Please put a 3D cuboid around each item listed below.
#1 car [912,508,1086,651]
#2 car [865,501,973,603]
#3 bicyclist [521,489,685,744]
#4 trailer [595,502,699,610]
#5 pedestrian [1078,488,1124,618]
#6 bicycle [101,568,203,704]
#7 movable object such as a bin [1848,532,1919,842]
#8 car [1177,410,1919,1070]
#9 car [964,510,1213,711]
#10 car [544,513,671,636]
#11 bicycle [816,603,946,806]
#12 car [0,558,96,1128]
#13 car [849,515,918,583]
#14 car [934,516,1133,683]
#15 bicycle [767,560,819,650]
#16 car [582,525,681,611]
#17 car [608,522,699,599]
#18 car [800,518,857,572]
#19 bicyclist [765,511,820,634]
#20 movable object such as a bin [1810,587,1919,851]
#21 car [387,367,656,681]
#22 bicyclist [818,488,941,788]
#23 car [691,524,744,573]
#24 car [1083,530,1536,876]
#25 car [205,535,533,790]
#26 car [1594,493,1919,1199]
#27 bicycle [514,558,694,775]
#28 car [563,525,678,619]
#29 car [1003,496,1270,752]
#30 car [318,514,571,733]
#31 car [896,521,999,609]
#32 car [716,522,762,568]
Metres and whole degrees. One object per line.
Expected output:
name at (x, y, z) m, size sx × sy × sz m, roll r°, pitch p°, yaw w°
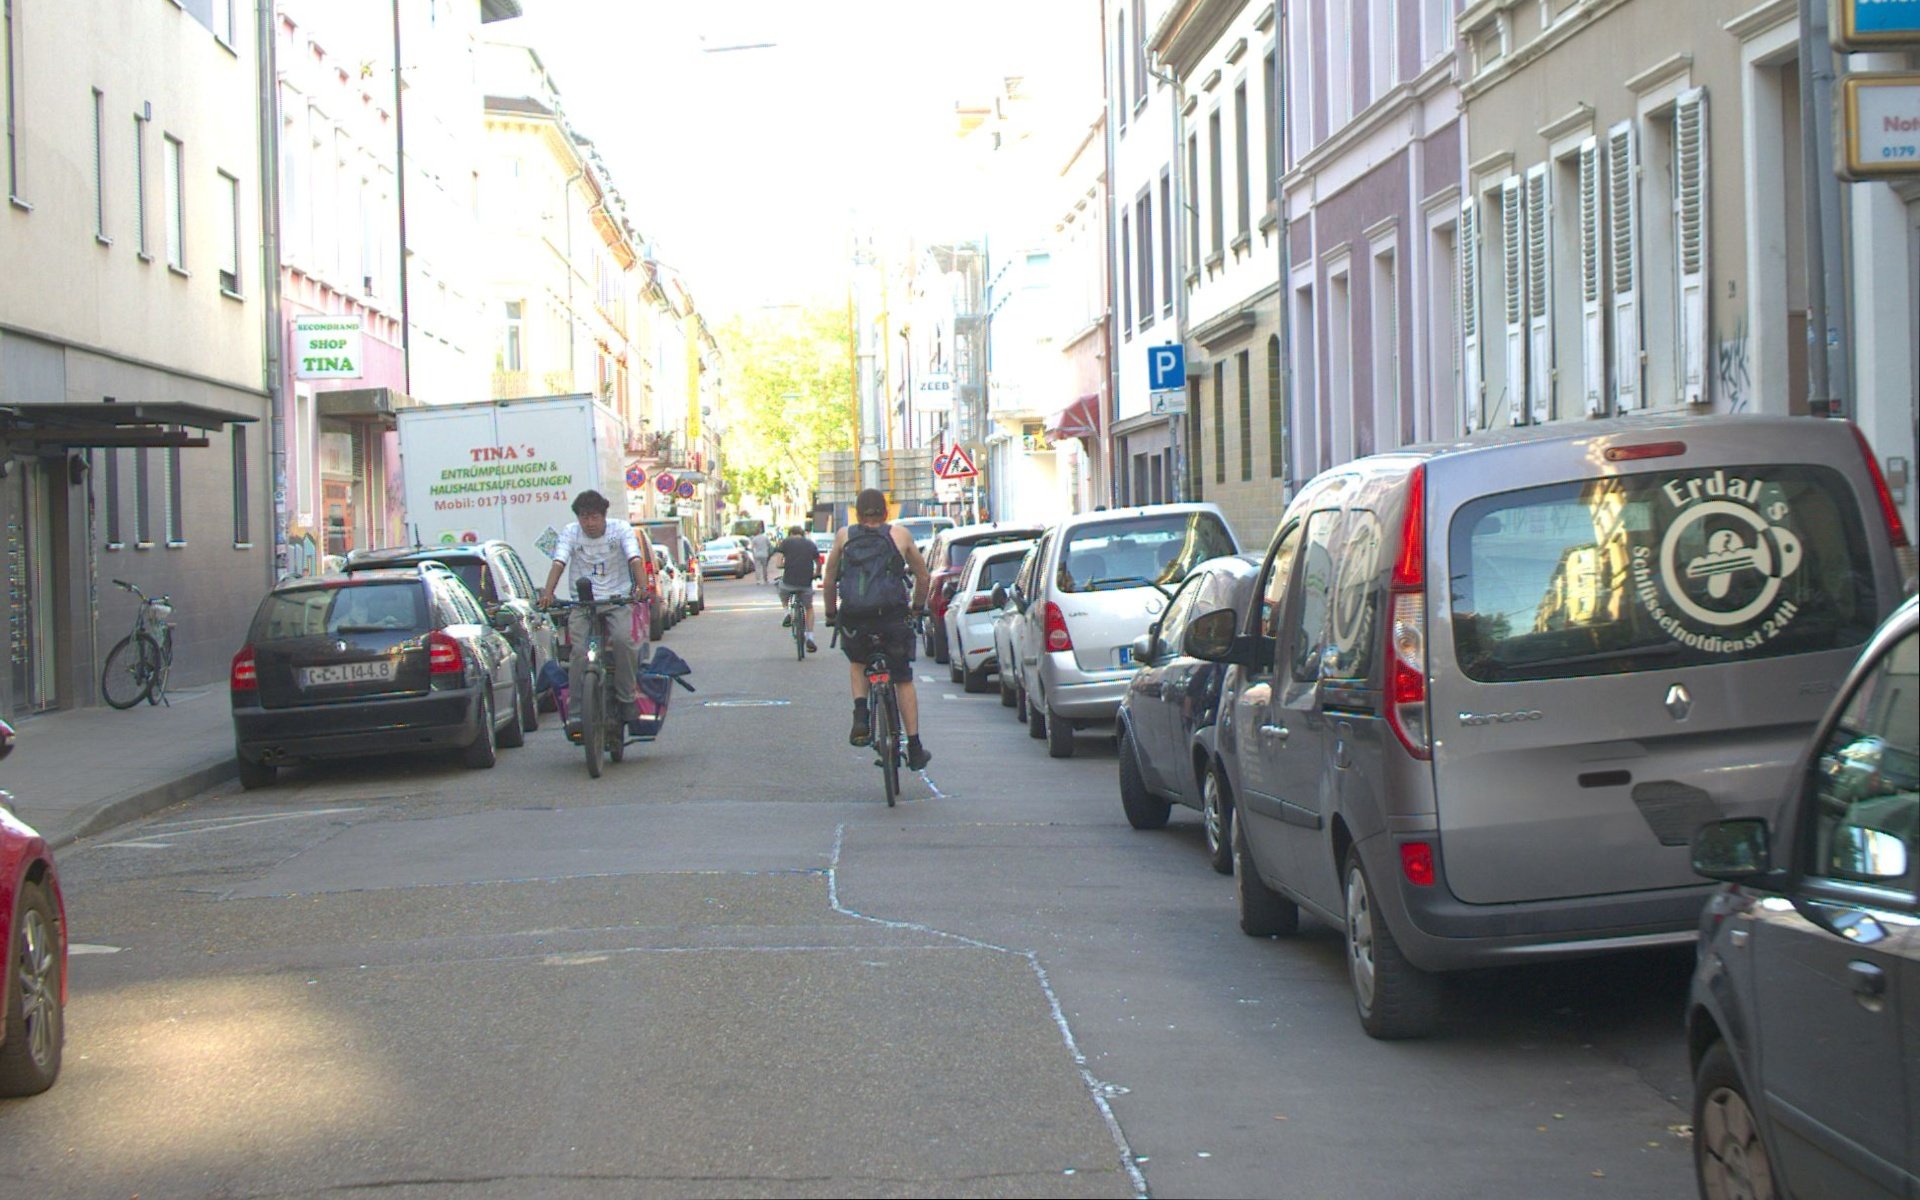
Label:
car at (0.447, -0.298, 43.944) m, size 1.918 × 1.700 × 4.367 m, roll -1°, pitch 1°, yaw -3°
car at (-0.826, -0.945, 67.343) m, size 1.750 × 1.872 × 3.973 m, roll -2°, pitch 1°, yaw -5°
bicyclist at (-2.374, 0.098, 22.978) m, size 0.950 × 1.622 × 0.953 m, roll -3°, pitch 1°, yaw -3°
trailer at (-6.383, -0.898, 70.429) m, size 1.881 × 2.085 × 3.738 m, roll -2°, pitch 1°, yaw -3°
pedestrian at (2.185, -0.725, 53.495) m, size 0.644 × 2.007 × 0.764 m, roll 0°, pitch 1°, yaw -3°
bicycle at (-7.405, 0.310, 31.561) m, size 0.490 × 1.160 × 1.773 m, roll -3°, pitch 1°, yaw -2°
movable object such as a bin at (4.148, 0.335, 14.153) m, size 0.762 × 1.239 × 0.580 m, roll -2°, pitch 1°, yaw -5°
car at (1.921, 0.350, 11.520) m, size 1.899 × 1.787 × 4.315 m, roll 0°, pitch 1°, yaw -3°
car at (1.050, 0.052, 30.299) m, size 1.696 × 1.538 × 4.629 m, roll -3°, pitch 1°, yaw -3°
car at (-5.621, -0.420, 55.152) m, size 1.752 × 1.810 × 4.079 m, roll -3°, pitch 1°, yaw -3°
bicycle at (-0.469, 0.569, 19.677) m, size 0.677 × 1.071 × 1.942 m, roll 0°, pitch 1°, yaw -3°
car at (-3.445, 0.718, 8.369) m, size 1.750 × 1.517 × 3.869 m, roll -4°, pitch 1°, yaw -2°
car at (-1.896, -1.260, 84.574) m, size 1.611 × 1.628 × 3.611 m, roll 0°, pitch 1°, yaw -3°
car at (0.705, -0.029, 35.651) m, size 1.686 × 1.538 × 4.047 m, roll -3°, pitch 1°, yaw -3°
bicycle at (-2.138, 0.050, 44.011) m, size 0.648 × 1.125 × 2.136 m, roll 0°, pitch 1°, yaw -3°
car at (-6.255, -0.617, 65.789) m, size 1.653 × 1.532 × 3.635 m, roll -2°, pitch 1°, yaw -3°
car at (-6.613, -0.857, 74.461) m, size 1.750 × 1.567 × 3.796 m, roll -2°, pitch 1°, yaw -3°
car at (-3.872, -1.601, 100.801) m, size 1.611 × 1.555 × 3.611 m, roll 0°, pitch 1°, yaw -3°
bicyclist at (-2.146, -0.355, 43.992) m, size 0.671 × 1.562 × 0.716 m, roll 0°, pitch 1°, yaw -4°
movable object such as a bin at (4.141, 0.499, 14.825) m, size 0.724 × 1.088 × 0.685 m, roll -1°, pitch 1°, yaw -5°
car at (-5.084, -0.880, 40.965) m, size 2.343 × 3.280 × 7.155 m, roll -3°, pitch 1°, yaw -2°
bicyclist at (-0.472, 0.205, 19.691) m, size 0.667 × 1.671 × 1.097 m, roll 0°, pitch 1°, yaw -3°
car at (-8.709, -1.859, 123.674) m, size 1.750 × 1.678 × 3.796 m, roll -2°, pitch 1°, yaw -3°
car at (1.602, 0.425, 16.884) m, size 1.552 × 1.506 × 3.612 m, roll 0°, pitch 1°, yaw -5°
car at (-4.126, 0.362, 24.647) m, size 1.716 × 1.473 × 4.500 m, roll -4°, pitch 2°, yaw -3°
car at (2.167, 0.566, 5.454) m, size 1.570 × 1.551 × 3.314 m, roll -4°, pitch 1°, yaw -1°
bicycle at (-2.377, 0.410, 23.267) m, size 0.977 × 1.310 × 2.555 m, roll -3°, pitch 2°, yaw -2°
car at (-5.961, -0.507, 60.709) m, size 1.750 × 1.532 × 4.320 m, roll -2°, pitch 1°, yaw -3°
car at (1.205, 0.135, 24.809) m, size 1.556 × 1.706 × 3.559 m, roll 0°, pitch 1°, yaw -3°
car at (-4.480, 0.137, 30.420) m, size 1.716 × 1.644 × 4.246 m, roll -4°, pitch 2°, yaw -3°
car at (-0.262, -0.639, 62.301) m, size 1.750 × 1.481 × 3.800 m, roll -2°, pitch 1°, yaw -1°
car at (-9.046, -2.249, 140.731) m, size 1.750 × 1.815 × 3.796 m, roll -2°, pitch 1°, yaw -3°
